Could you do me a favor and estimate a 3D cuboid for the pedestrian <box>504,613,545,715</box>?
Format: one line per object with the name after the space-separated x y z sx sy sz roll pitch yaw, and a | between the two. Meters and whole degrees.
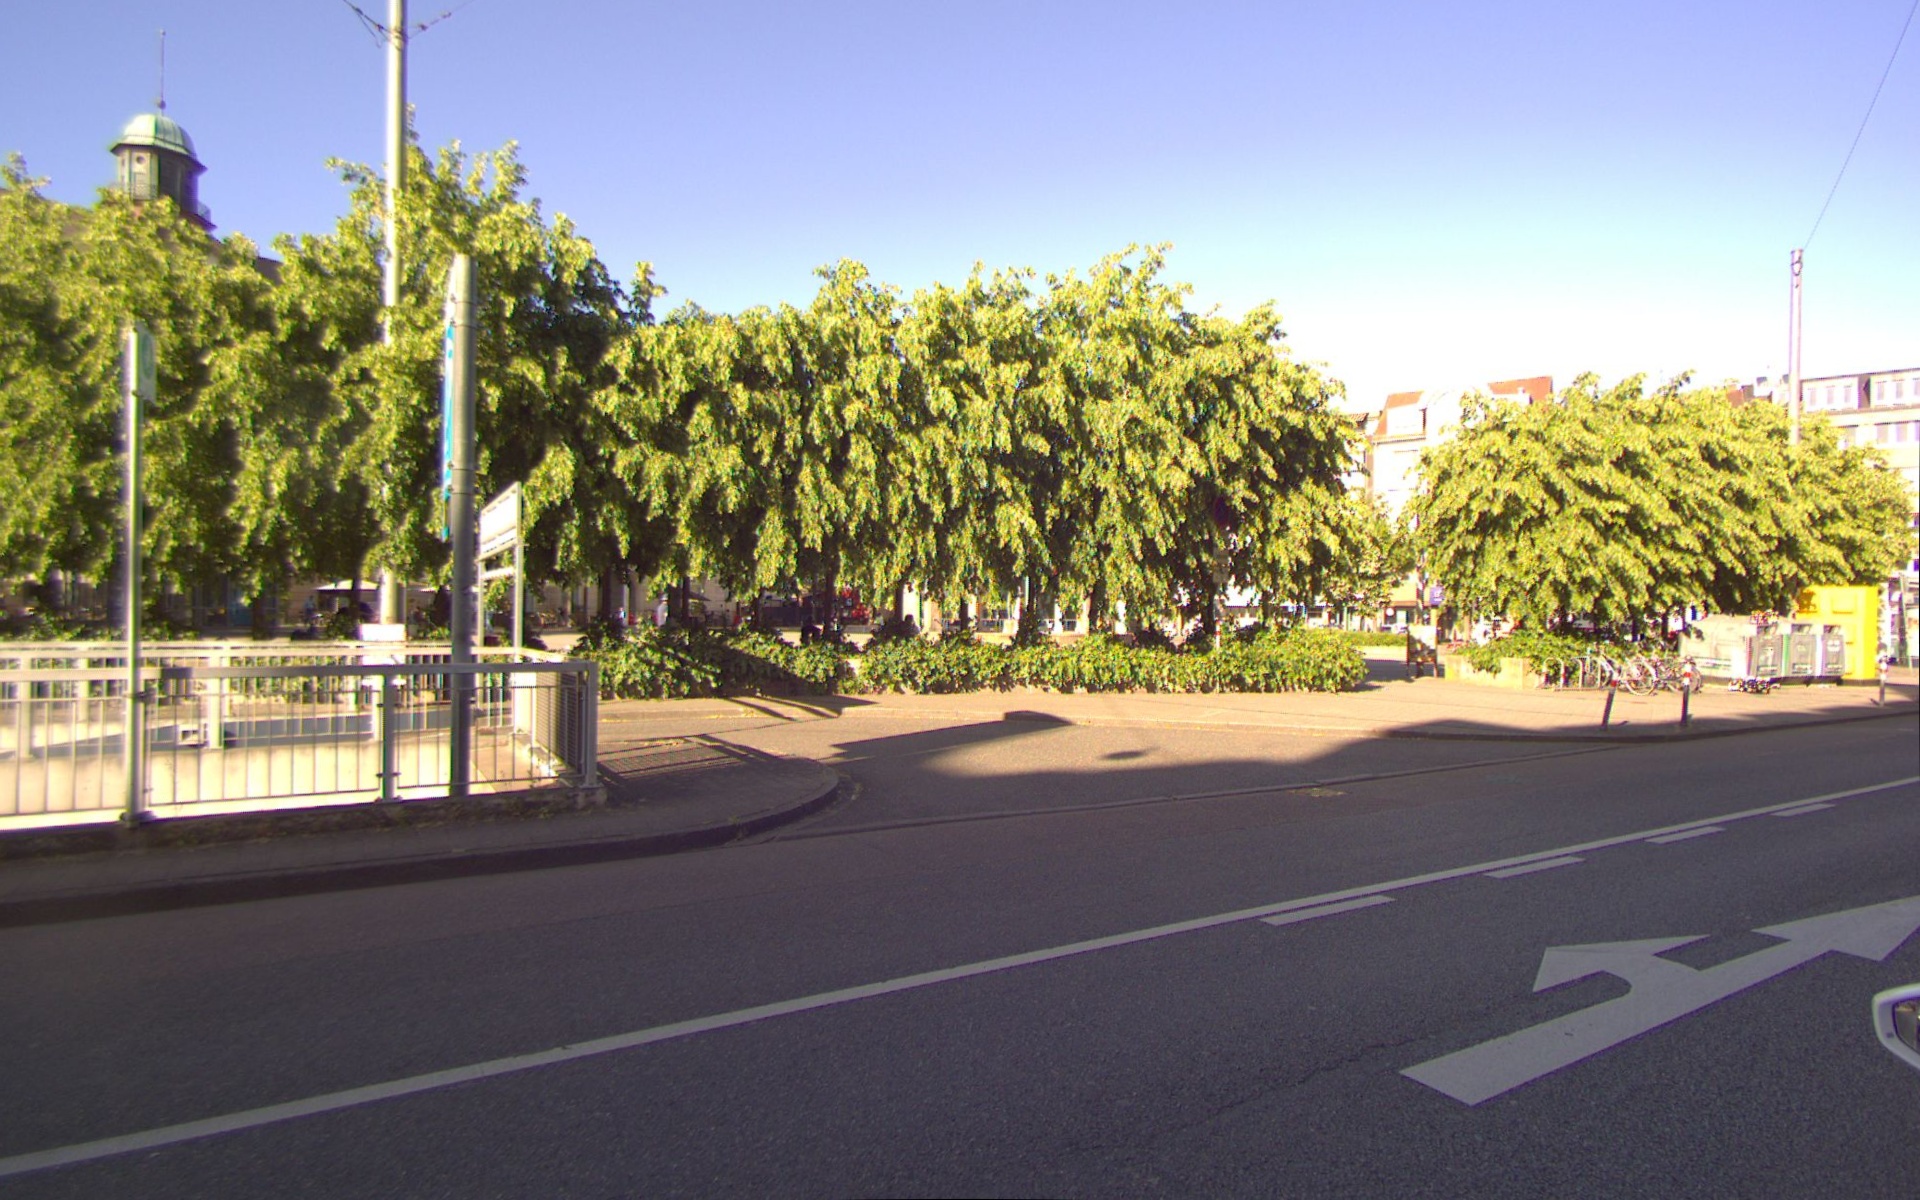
-8.315 1.204 19.164 0.595 1.881 0.577 1 0 -33 | pedestrian

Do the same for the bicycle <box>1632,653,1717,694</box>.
15.705 1.600 22.109 0.468 0.779 1.468 1 0 -26 | bicycle

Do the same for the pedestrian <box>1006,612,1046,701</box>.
1.436 1.205 21.778 0.574 1.881 0.598 1 0 41 | pedestrian

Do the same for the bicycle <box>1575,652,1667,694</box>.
13.964 1.524 21.265 0.467 0.779 1.654 1 0 -20 | bicycle

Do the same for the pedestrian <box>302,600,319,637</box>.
-32.490 0.913 50.231 0.596 1.816 0.576 1 0 -40 | pedestrian

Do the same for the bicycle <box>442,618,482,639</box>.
-25.744 1.485 51.905 2.018 1.030 0.504 1 0 16 | bicycle

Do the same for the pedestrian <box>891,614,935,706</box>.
-0.991 1.235 21.034 0.722 1.881 0.578 1 0 -27 | pedestrian

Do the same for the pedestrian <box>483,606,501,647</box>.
-21.401 1.210 45.924 0.597 1.816 0.575 1 0 -44 | pedestrian

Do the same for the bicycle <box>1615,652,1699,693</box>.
15.184 1.572 21.918 0.435 0.779 1.469 1 0 -24 | bicycle

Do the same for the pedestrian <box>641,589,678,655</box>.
-8.232 0.604 27.549 0.918 1.775 0.729 1 0 -14 | pedestrian

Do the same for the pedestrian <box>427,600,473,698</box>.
-10.045 0.952 19.776 0.672 1.881 0.576 1 0 -41 | pedestrian
